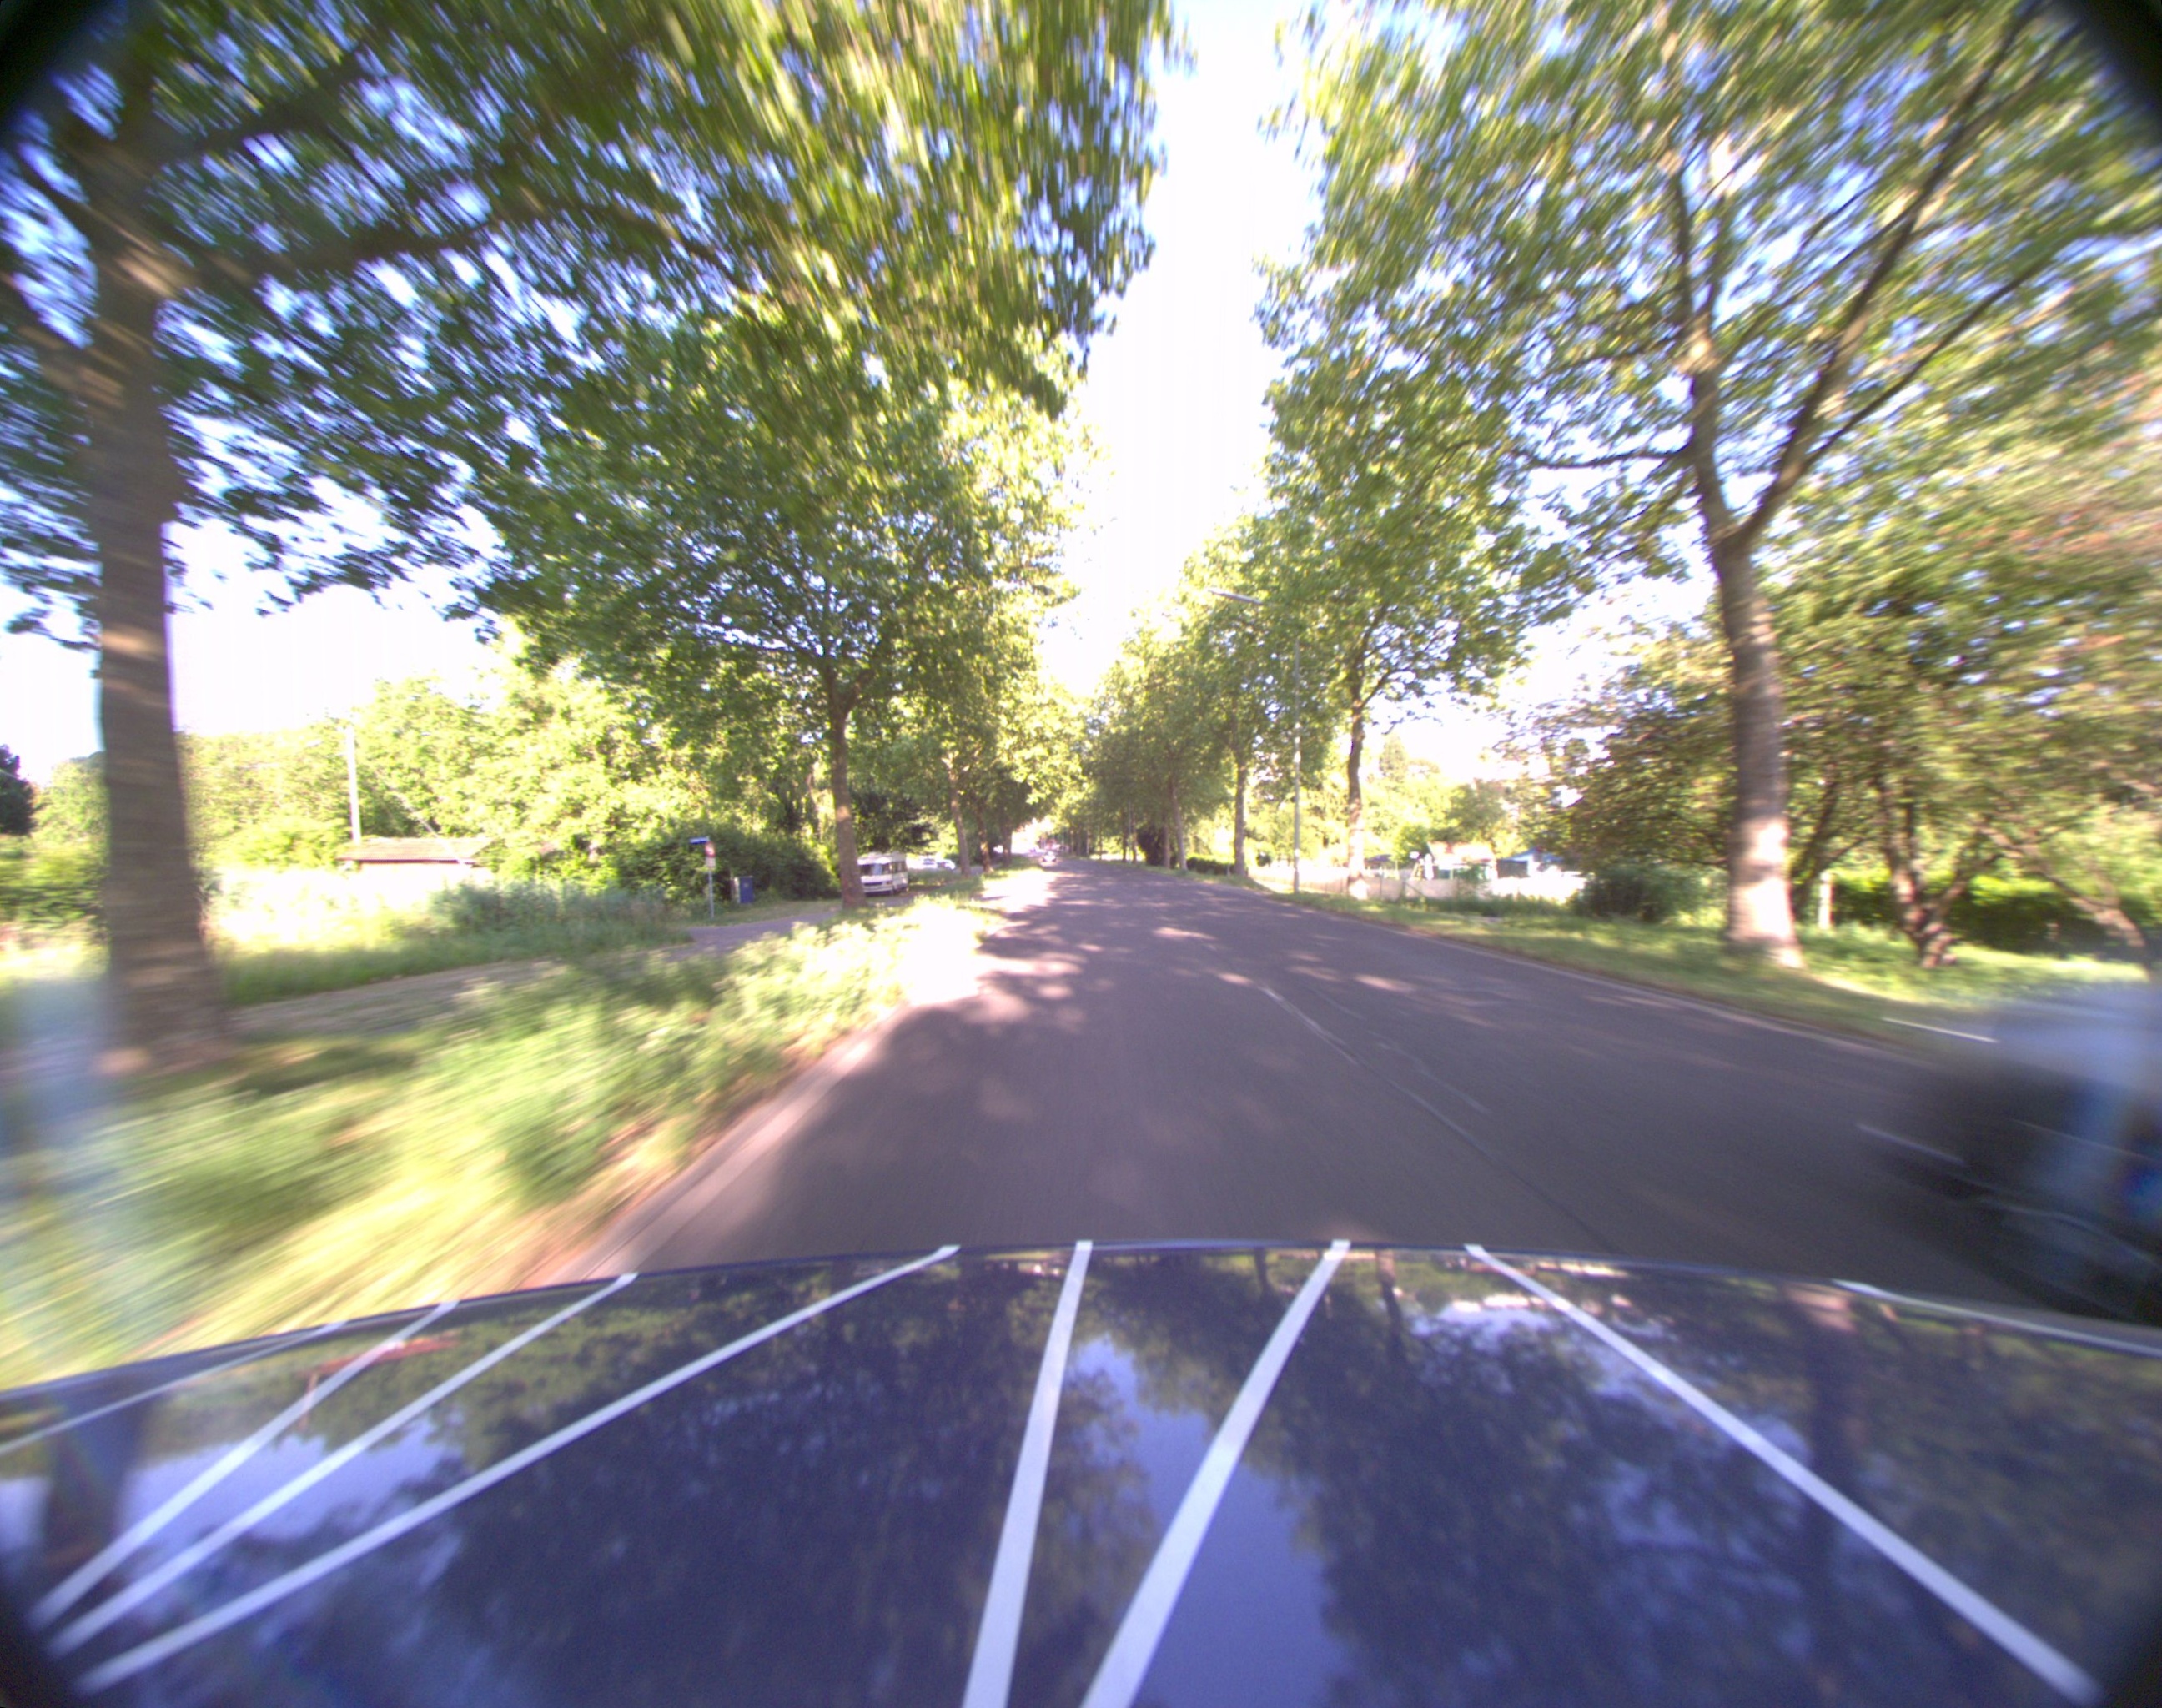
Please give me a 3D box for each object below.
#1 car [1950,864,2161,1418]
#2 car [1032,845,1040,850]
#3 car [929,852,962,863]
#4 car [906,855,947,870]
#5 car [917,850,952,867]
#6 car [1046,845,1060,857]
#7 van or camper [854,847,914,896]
[{"bbox_3d":[3.809,0.822,0.587,1.719,1.496,3.999,-2,1,1],"label":"car"},{"bbox_3d":[-11.890,-1.730,200.834,1.869,1.421,3.999,-1,1,0],"label":"car"},{"bbox_3d":[-18.819,0.477,105.642,3.995,1.379,2.000,-1,1,5],"label":"car"},{"bbox_3d":[-19.056,1.053,93.688,4.510,1.660,2.000,-1,2,5],"label":"car"},{"bbox_3d":[-19.166,0.606,99.558,3.995,2.002,2.000,-1,2,5],"label":"car"},{"bbox_3d":[-4.147,-0.388,110.855,1.999,1.656,3.998,-2,1,-3],"label":"car"},{"bbox_3d":[-12.407,1.025,48.384,2.387,2.784,5.683,-2,1,-2],"label":"van or camper"}]
